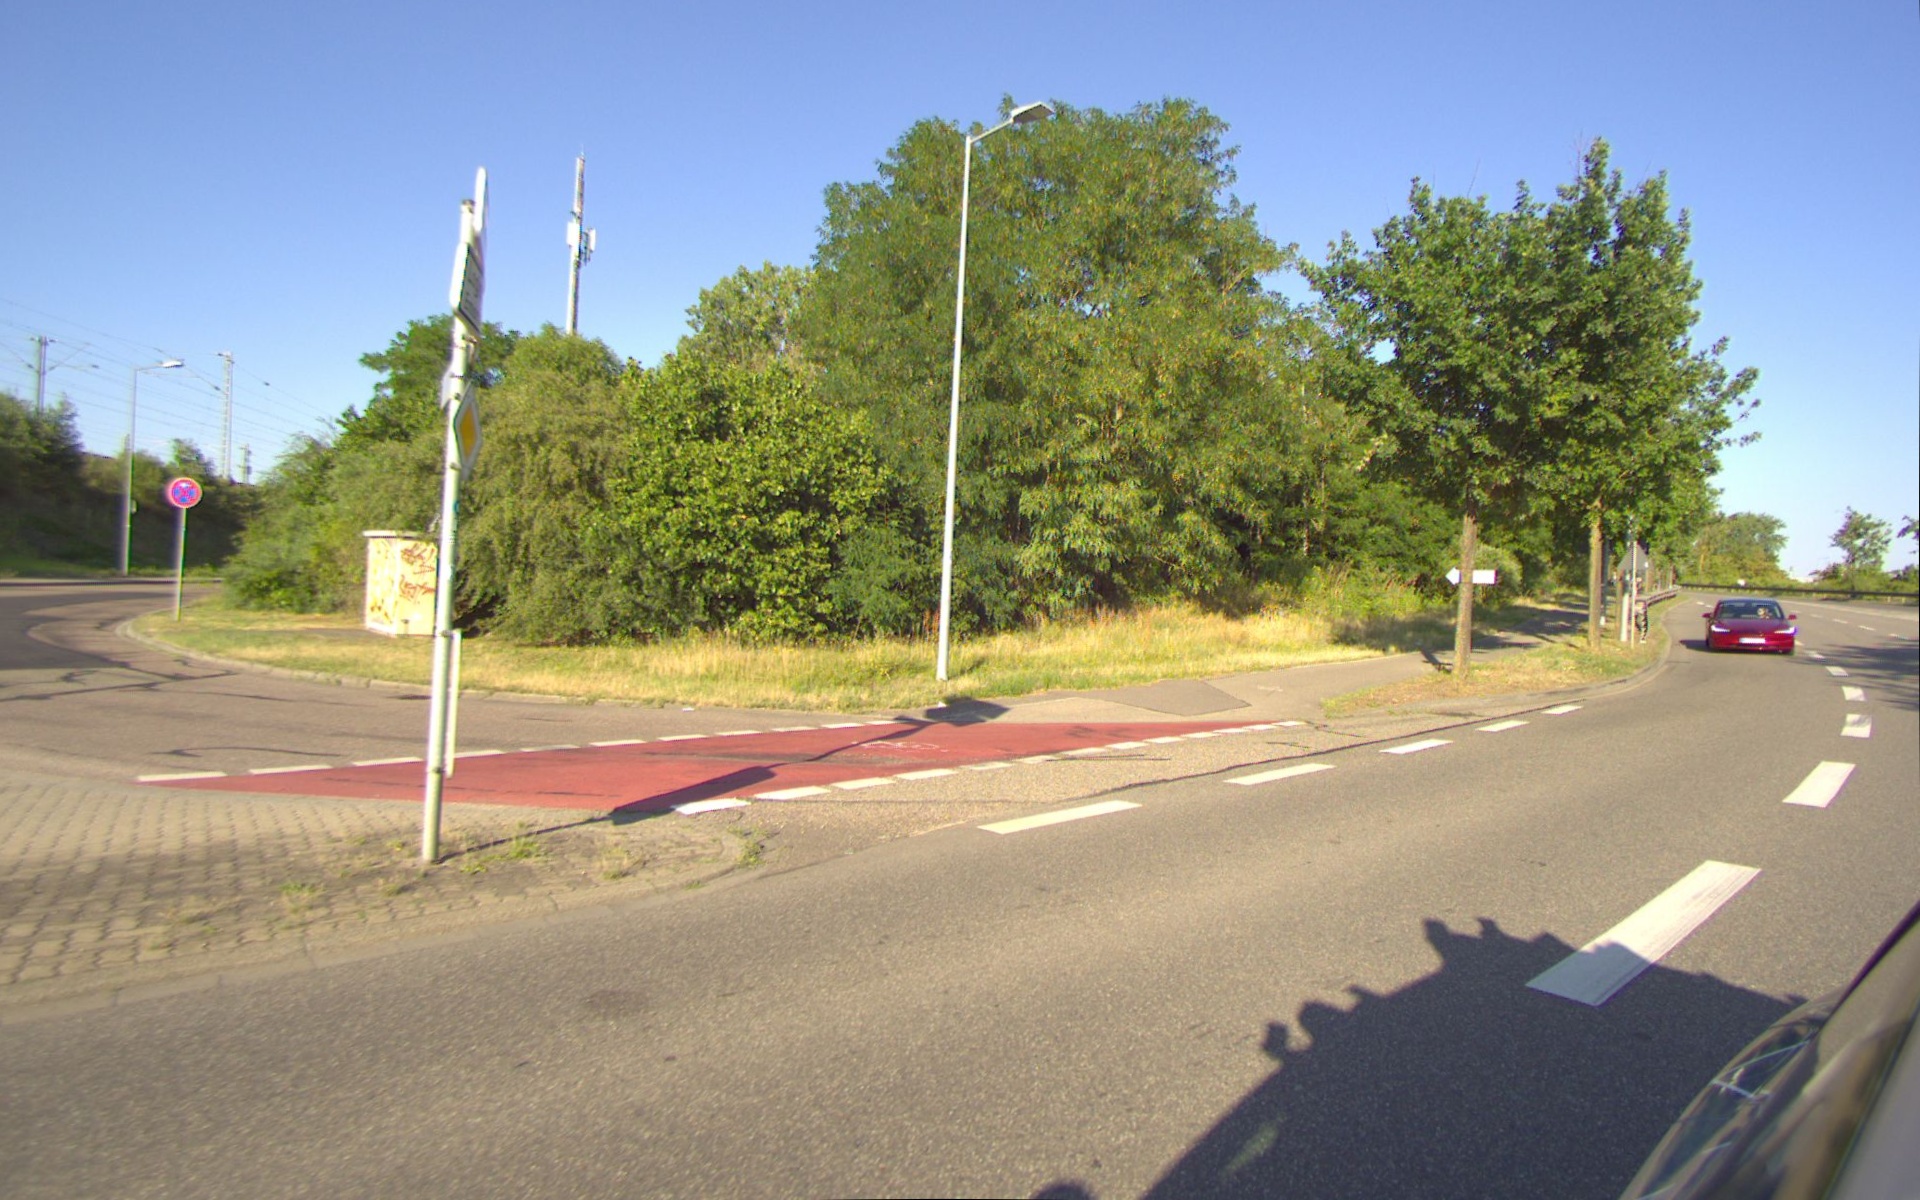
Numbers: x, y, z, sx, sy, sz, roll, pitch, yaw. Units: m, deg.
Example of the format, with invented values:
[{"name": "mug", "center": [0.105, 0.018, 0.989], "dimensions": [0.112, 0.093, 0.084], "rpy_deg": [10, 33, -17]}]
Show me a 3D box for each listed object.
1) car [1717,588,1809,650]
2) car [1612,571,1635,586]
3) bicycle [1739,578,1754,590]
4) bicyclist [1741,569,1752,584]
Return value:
[{"name": "car", "center": [21.924, 0.446, 27.762], "dimensions": [1.772, 1.460, 4.304], "rpy_deg": [1, 2, 36]}, {"name": "car", "center": [91.748, -3.005, 139.965], "dimensions": [1.864, 2.038, 5.217], "rpy_deg": [0, 2, 25]}, {"name": "bicycle", "center": [80.474, -1.618, 103.525], "dimensions": [0.578, 1.089, 2.295], "rpy_deg": [4, 4, 24]}, {"name": "bicyclist", "center": [80.574, -2.371, 103.656], "dimensions": [0.595, 1.476, 0.822], "rpy_deg": [4, 4, 24]}]
